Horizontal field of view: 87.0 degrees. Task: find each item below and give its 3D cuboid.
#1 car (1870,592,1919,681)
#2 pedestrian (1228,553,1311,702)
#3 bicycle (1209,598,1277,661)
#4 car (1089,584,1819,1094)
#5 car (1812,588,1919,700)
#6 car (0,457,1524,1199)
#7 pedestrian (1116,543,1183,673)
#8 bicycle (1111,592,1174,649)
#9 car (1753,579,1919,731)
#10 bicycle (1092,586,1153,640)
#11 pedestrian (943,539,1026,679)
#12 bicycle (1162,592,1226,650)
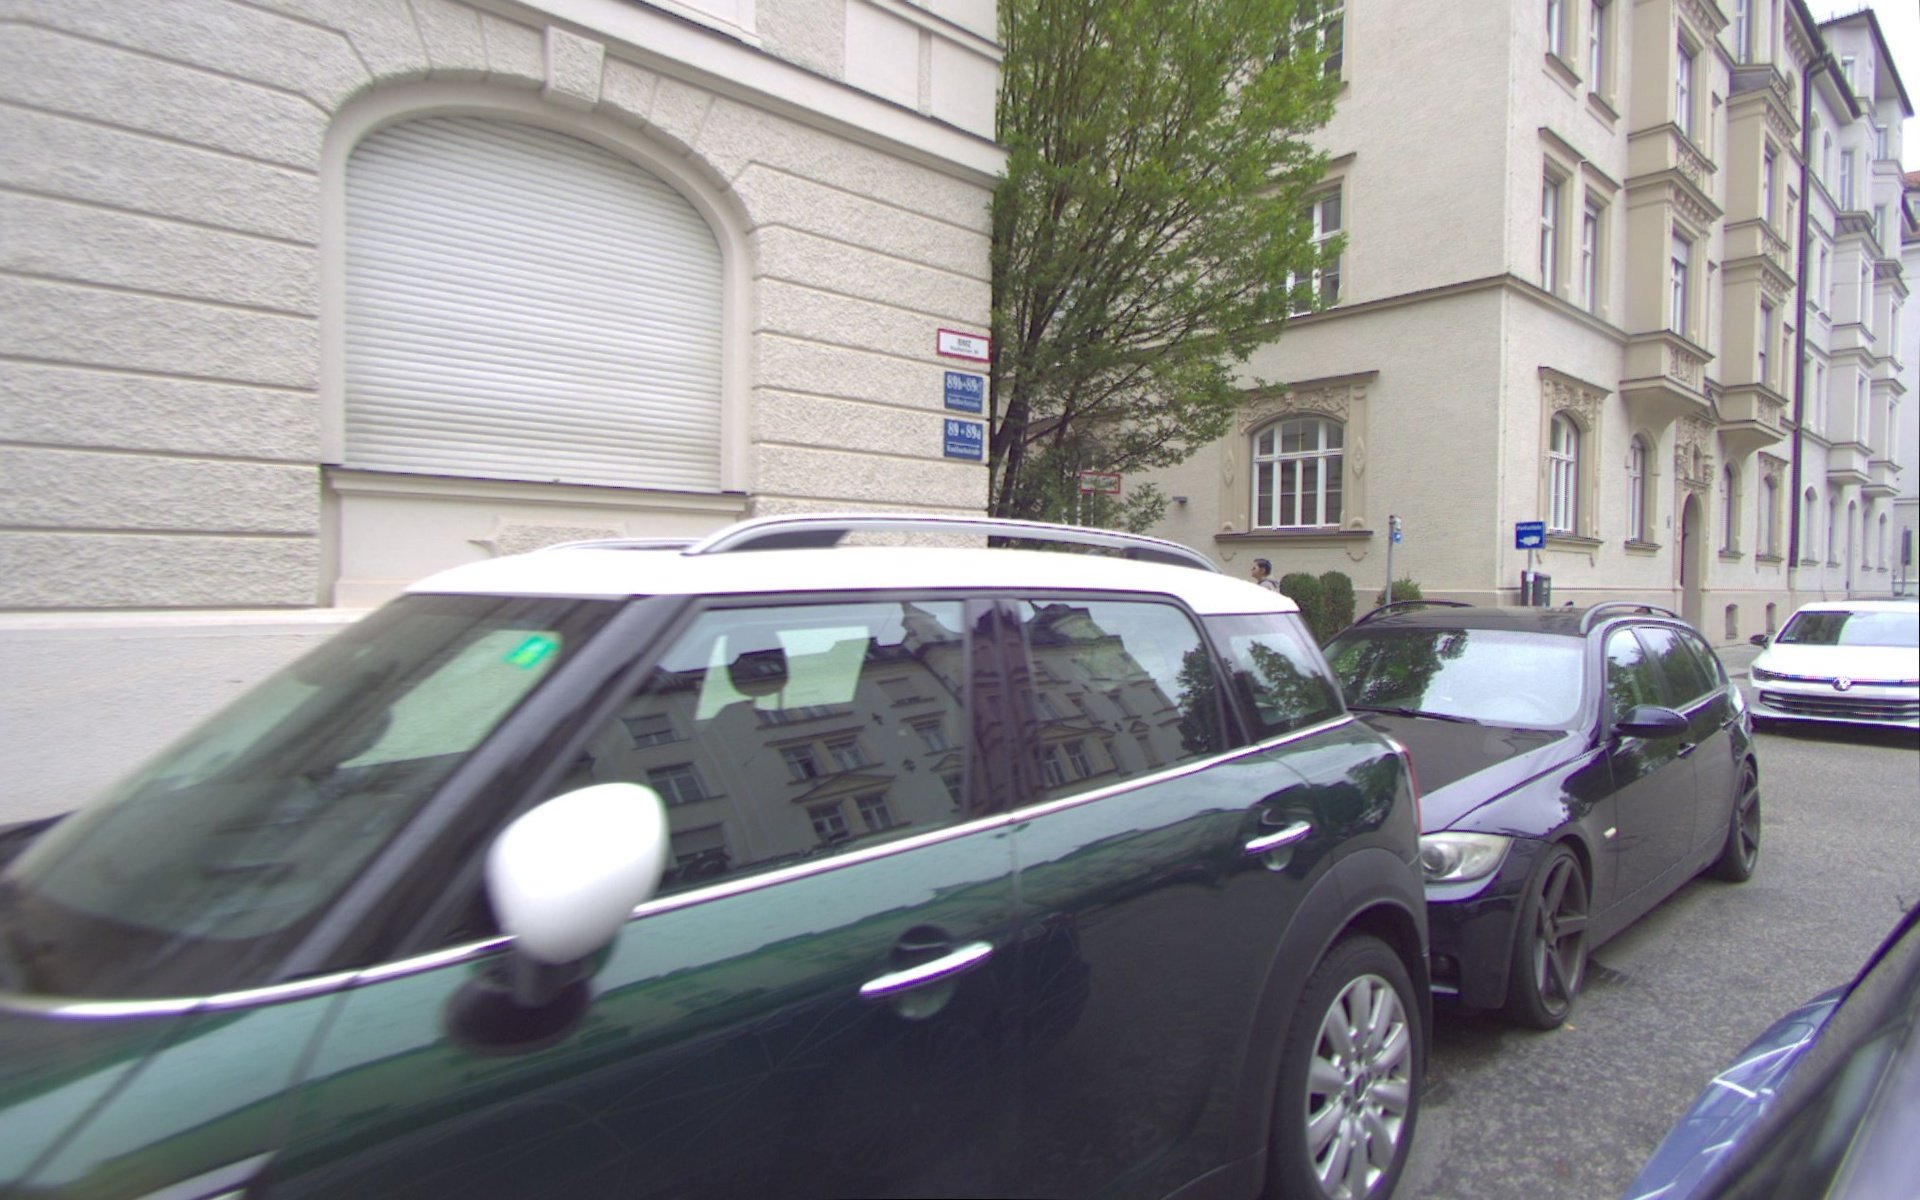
[{"bbox_3d":[17.818,0.606,18.083,3.951,1.415,1.745,-2,1,-40],"label":"car"},{"bbox_3d":[3.683,0.314,12.116,0.841,1.678,0.862,3,-1,16],"label":"pedestrian"},{"bbox_3d":[4.517,0.452,16.135,1.110,0.919,0.453,-1,3,-39],"label":"bicycle"},{"bbox_3d":[2.669,0.679,4.950,4.150,1.470,1.714,0,1,-41],"label":"car"},{"bbox_3d":[14.267,0.590,15.218,4.014,1.517,1.793,0,-1,-44],"label":"car"},{"bbox_3d":[-0.534,0.621,2.209,4.096,1.544,1.752,-1,2,-40],"label":"car"},{"bbox_3d":[2.690,0.097,14.375,0.659,1.791,0.630,0,1,-33],"label":"pedestrian"},{"bbox_3d":[3.188,0.346,17.638,1.110,0.919,0.453,-1,3,-39],"label":"bicycle"},{"bbox_3d":[10.793,0.546,11.925,3.996,1.526,1.665,0,1,-43],"label":"car"},{"bbox_3d":[2.954,0.230,18.401,1.110,0.919,0.453,-1,3,-39],"label":"bicycle"},{"bbox_3d":[0.320,0.101,13.432,0.661,1.791,0.884,0,1,-41],"label":"pedestrian"},{"bbox_3d":[3.960,0.345,17.127,1.110,0.919,0.453,-1,3,-39],"label":"bicycle"}]
